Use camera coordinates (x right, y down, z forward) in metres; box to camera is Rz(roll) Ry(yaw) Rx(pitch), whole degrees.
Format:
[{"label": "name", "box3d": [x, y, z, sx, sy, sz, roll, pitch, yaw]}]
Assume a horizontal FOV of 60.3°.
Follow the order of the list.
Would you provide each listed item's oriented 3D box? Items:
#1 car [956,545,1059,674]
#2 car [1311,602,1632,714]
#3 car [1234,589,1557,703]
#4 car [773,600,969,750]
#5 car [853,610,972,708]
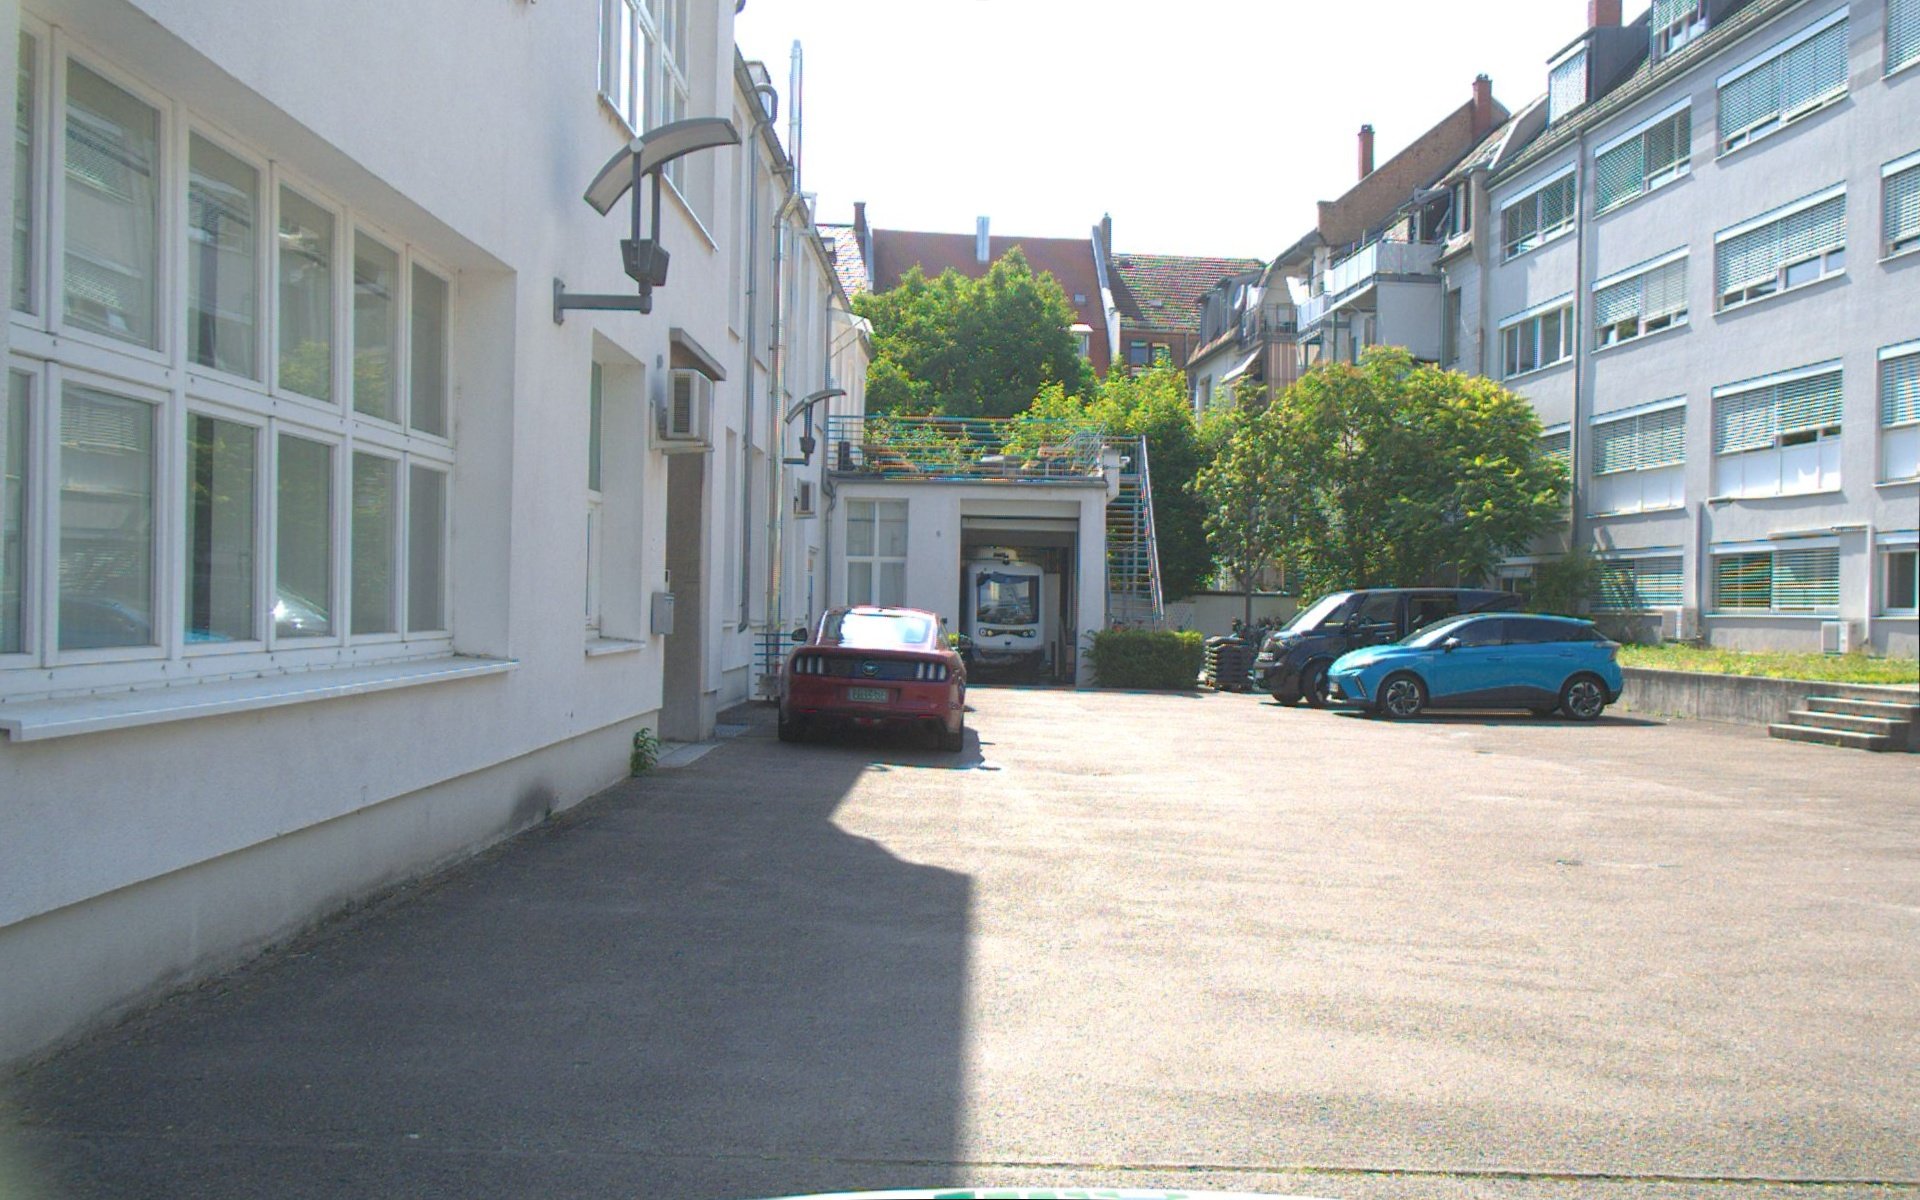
[{"label": "car", "box3d": [1.044, 0.234, 37.505, 2.129, 2.653, 6.734, 0, -1, 1]}, {"label": "car", "box3d": [7.532, 0.829, 24.621, 4.144, 1.559, 1.999, 0, 1, -3]}, {"label": "car", "box3d": [7.289, 0.720, 27.877, 4.864, 1.798, 2.090, 0, 1, -12]}, {"label": "car", "box3d": [-0.848, 0.713, 17.690, 1.814, 1.342, 4.000, 2, 0, 0]}, {"label": "car", "box3d": [-0.641, 0.827, 24.657, 1.581, 1.318, 3.759, 0, 0, 1]}]
